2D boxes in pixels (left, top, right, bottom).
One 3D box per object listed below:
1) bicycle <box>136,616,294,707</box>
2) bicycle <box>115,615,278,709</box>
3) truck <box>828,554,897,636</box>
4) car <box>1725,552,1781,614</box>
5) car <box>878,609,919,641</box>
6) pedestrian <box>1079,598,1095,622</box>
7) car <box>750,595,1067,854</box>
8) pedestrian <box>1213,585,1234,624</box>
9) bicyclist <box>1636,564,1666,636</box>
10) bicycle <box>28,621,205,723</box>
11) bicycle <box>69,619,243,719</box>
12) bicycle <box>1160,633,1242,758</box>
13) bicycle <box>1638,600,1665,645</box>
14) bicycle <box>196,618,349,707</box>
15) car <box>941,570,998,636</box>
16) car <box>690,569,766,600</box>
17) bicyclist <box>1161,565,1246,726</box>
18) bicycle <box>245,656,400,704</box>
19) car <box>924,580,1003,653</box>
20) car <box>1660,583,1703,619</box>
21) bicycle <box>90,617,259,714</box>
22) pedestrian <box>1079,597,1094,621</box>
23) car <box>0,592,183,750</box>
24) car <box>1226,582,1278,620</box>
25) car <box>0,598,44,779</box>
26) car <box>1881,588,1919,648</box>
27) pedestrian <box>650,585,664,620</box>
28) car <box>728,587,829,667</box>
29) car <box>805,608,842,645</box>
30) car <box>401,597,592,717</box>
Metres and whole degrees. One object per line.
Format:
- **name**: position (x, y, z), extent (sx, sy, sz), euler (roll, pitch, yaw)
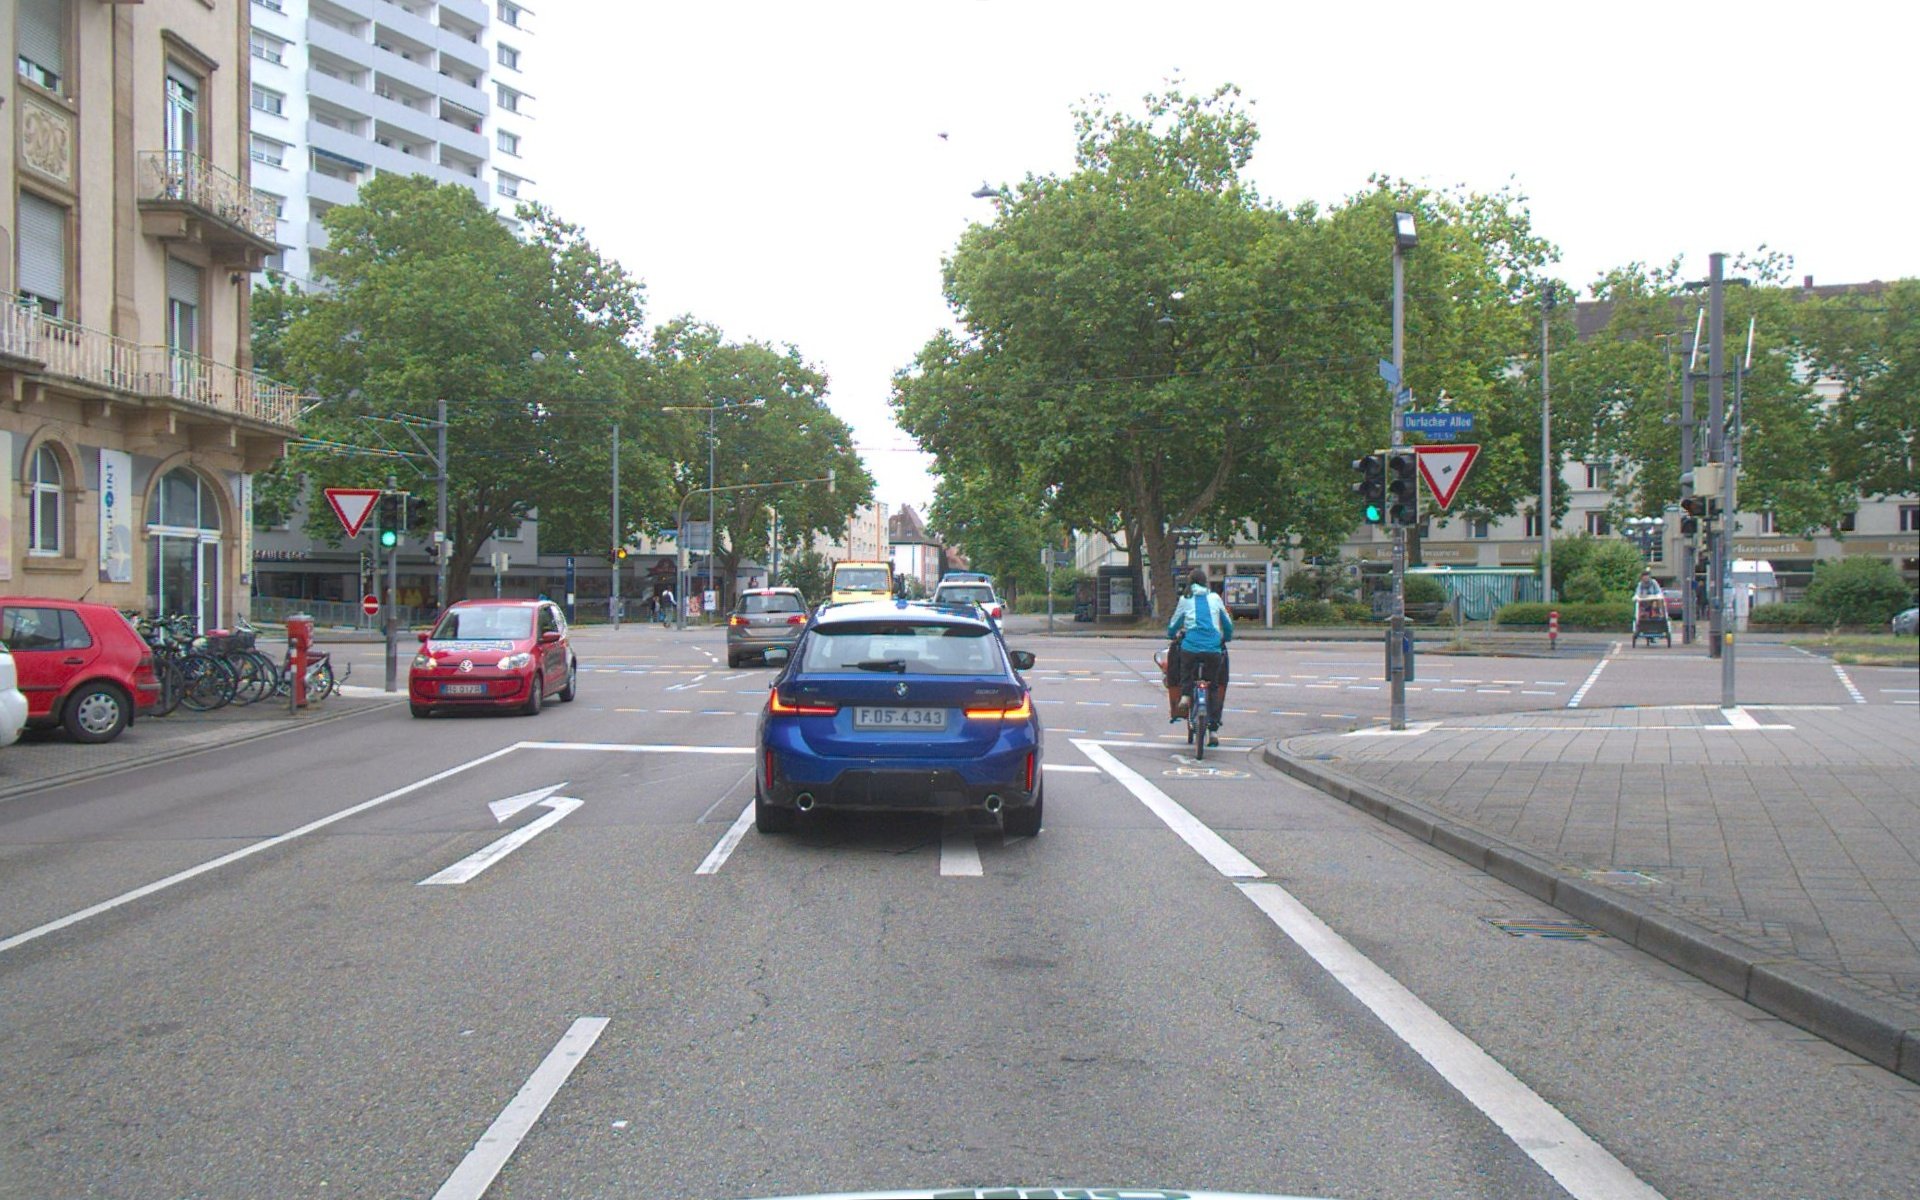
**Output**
- **bicycle**: position (-10.105, 0.828, 22.462), extent (1.849, 1.053, 0.442), euler (5, 0, -3)
- **bicycle**: position (-10.061, 0.812, 21.827), extent (1.849, 1.053, 0.442), euler (5, 0, -3)
- **truck**: position (-3.073, -0.180, 52.635), extent (2.033, 2.450, 5.459), euler (-1, 0, -3)
- **car**: position (35.321, -0.741, 73.750), extent (2.191, 2.685, 5.443), euler (0, 0, 25)
- **car**: position (-2.945, 1.209, 80.020), extent (1.771, 1.452, 4.317), euler (0, 0, 1)
- **pedestrian**: position (7.217, 0.552, 93.784), extent (0.835, 1.337, 0.762), euler (0, 0, -1)
- **car**: position (-0.313, 0.693, 11.486), extent (1.778, 1.430, 4.319), euler (0, 0, -1)
- **pedestrian**: position (12.175, 0.197, 76.469), extent (0.768, 1.774, 0.925), euler (0, 0, -2)
- **bicyclist**: position (16.239, -0.007, 38.890), extent (0.601, 1.683, 0.754), euler (0, 0, 21)
- **bicycle**: position (-10.093, 0.856, 19.813), extent (1.847, 1.053, 0.442), euler (4, 0, 2)
- **bicycle**: position (-10.014, 0.855, 20.630), extent (1.849, 1.053, 0.442), euler (5, 0, -3)
- **bicycle**: position (2.414, 0.928, 16.761), extent (0.484, 1.117, 2.138), euler (0, 0, -1)
- **bicycle**: position (16.288, 0.516, 38.972), extent (0.540, 1.013, 2.061), euler (0, 0, 21)
- **bicycle**: position (-9.559, 0.861, 23.017), extent (1.849, 1.053, 0.442), euler (5, 0, -3)
- **car**: position (0.270, 0.077, 53.489), extent (1.778, 2.040, 3.999), euler (0, 0, -1)
- **car**: position (-13.501, -0.896, 96.388), extent (3.953, 1.736, 1.976), euler (0, -1, -35)
- **bicyclist**: position (2.409, 0.432, 16.453), extent (0.672, 1.544, 1.058), euler (0, 0, -1)
- **bicycle**: position (-9.249, 1.158, 24.060), extent (1.849, 0.453, 1.028), euler (5, 2, -3)
- **car**: position (0.055, 0.367, 39.193), extent (1.778, 1.620, 3.999), euler (0, 0, -1)
- **car**: position (31.536, 0.023, 72.263), extent (1.632, 1.542, 3.935), euler (0, 0, 25)
- **bicycle**: position (-10.035, 0.835, 21.166), extent (1.849, 1.053, 0.442), euler (5, 0, -3)
- **pedestrian**: position (7.236, 0.525, 94.702), extent (0.801, 1.396, 0.762), euler (0, 0, -1)
- **car**: position (-10.091, 0.679, 16.414), extent (1.653, 1.498, 3.978), euler (2, 1, 40)
- **car**: position (17.411, 0.060, 98.475), extent (2.130, 2.239, 3.999), euler (0, 0, 23)
- **car**: position (-9.905, 0.701, 13.506), extent (3.968, 1.498, 1.540), euler (2, 0, -44)
- **car**: position (27.130, 0.465, 44.508), extent (3.895, 1.589, 1.687), euler (-1, 0, 22)
- **pedestrian**: position (-15.957, 0.115, 87.078), extent (0.562, 1.816, 0.620), euler (0, 0, 8)
- **car**: position (-3.733, 0.522, 34.511), extent (1.697, 1.551, 3.999), euler (0, 0, -1)
- **car**: position (-8.083, 1.555, 98.409), extent (1.881, 2.049, 3.936), euler (0, 0, -1)
- **car**: position (-6.160, 0.707, 22.355), extent (1.615, 1.472, 3.510), euler (0, 0, -1)
